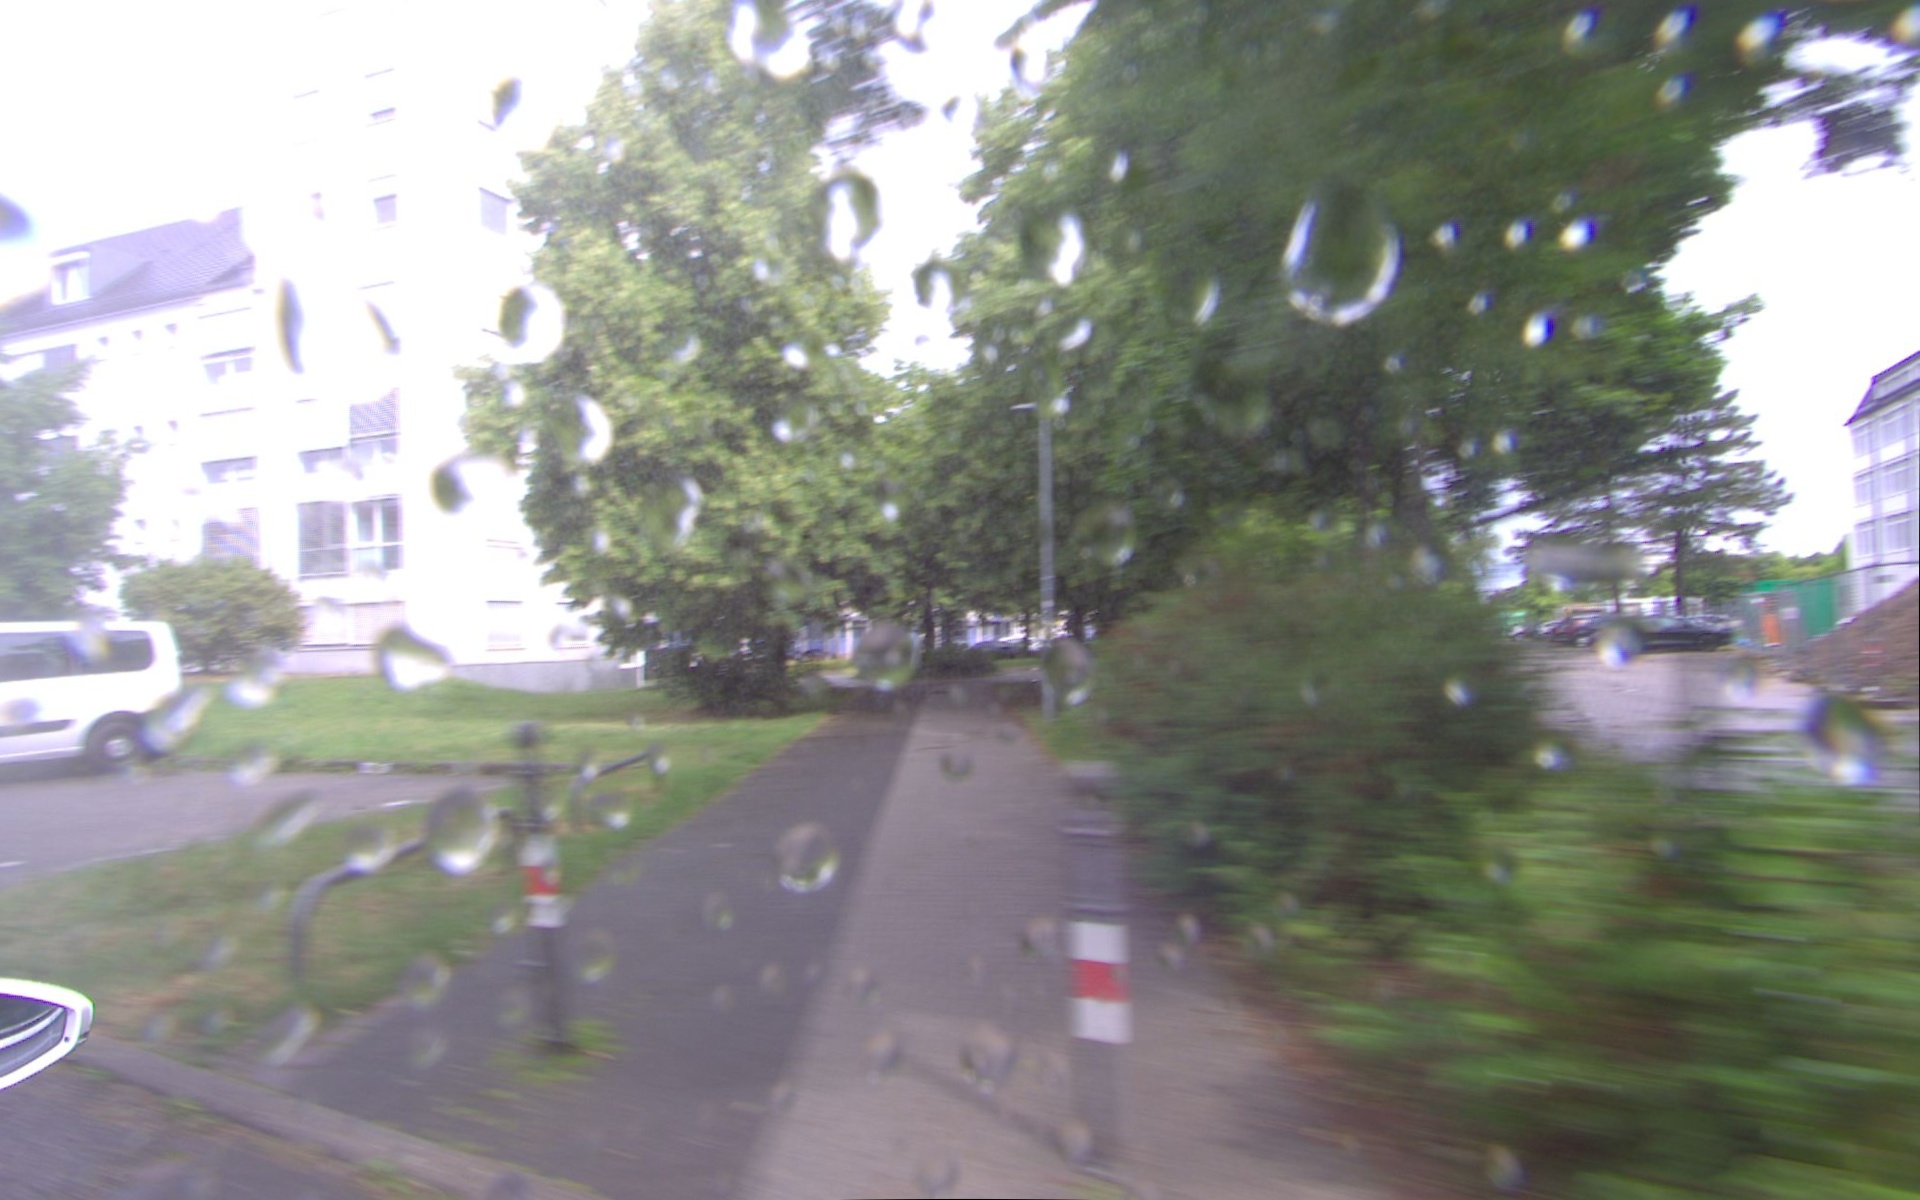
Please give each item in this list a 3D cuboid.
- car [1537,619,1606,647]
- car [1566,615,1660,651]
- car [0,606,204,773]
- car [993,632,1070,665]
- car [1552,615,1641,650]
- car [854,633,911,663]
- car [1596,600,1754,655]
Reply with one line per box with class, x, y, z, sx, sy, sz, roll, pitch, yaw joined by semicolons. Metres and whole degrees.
car;44.826;2.428;73.490;3.935;1.864;1.994;-4;-2;23
car;35.072;1.766;53.892;3.938;1.746;1.993;-3;-2;26
car;-12.298;1.084;11.912;2.067;1.949;4.873;-3;-4;27
car;4.535;3.024;63.677;4.513;1.966;2.044;0;0;28
car;35.716;1.822;56.326;3.938;1.754;1.993;-3;-2;26
car;-4.974;3.101;64.977;1.966;1.813;4.223;0;-1;23
car;28.504;1.118;40.140;4.713;1.965;2.394;-3;-2;26
